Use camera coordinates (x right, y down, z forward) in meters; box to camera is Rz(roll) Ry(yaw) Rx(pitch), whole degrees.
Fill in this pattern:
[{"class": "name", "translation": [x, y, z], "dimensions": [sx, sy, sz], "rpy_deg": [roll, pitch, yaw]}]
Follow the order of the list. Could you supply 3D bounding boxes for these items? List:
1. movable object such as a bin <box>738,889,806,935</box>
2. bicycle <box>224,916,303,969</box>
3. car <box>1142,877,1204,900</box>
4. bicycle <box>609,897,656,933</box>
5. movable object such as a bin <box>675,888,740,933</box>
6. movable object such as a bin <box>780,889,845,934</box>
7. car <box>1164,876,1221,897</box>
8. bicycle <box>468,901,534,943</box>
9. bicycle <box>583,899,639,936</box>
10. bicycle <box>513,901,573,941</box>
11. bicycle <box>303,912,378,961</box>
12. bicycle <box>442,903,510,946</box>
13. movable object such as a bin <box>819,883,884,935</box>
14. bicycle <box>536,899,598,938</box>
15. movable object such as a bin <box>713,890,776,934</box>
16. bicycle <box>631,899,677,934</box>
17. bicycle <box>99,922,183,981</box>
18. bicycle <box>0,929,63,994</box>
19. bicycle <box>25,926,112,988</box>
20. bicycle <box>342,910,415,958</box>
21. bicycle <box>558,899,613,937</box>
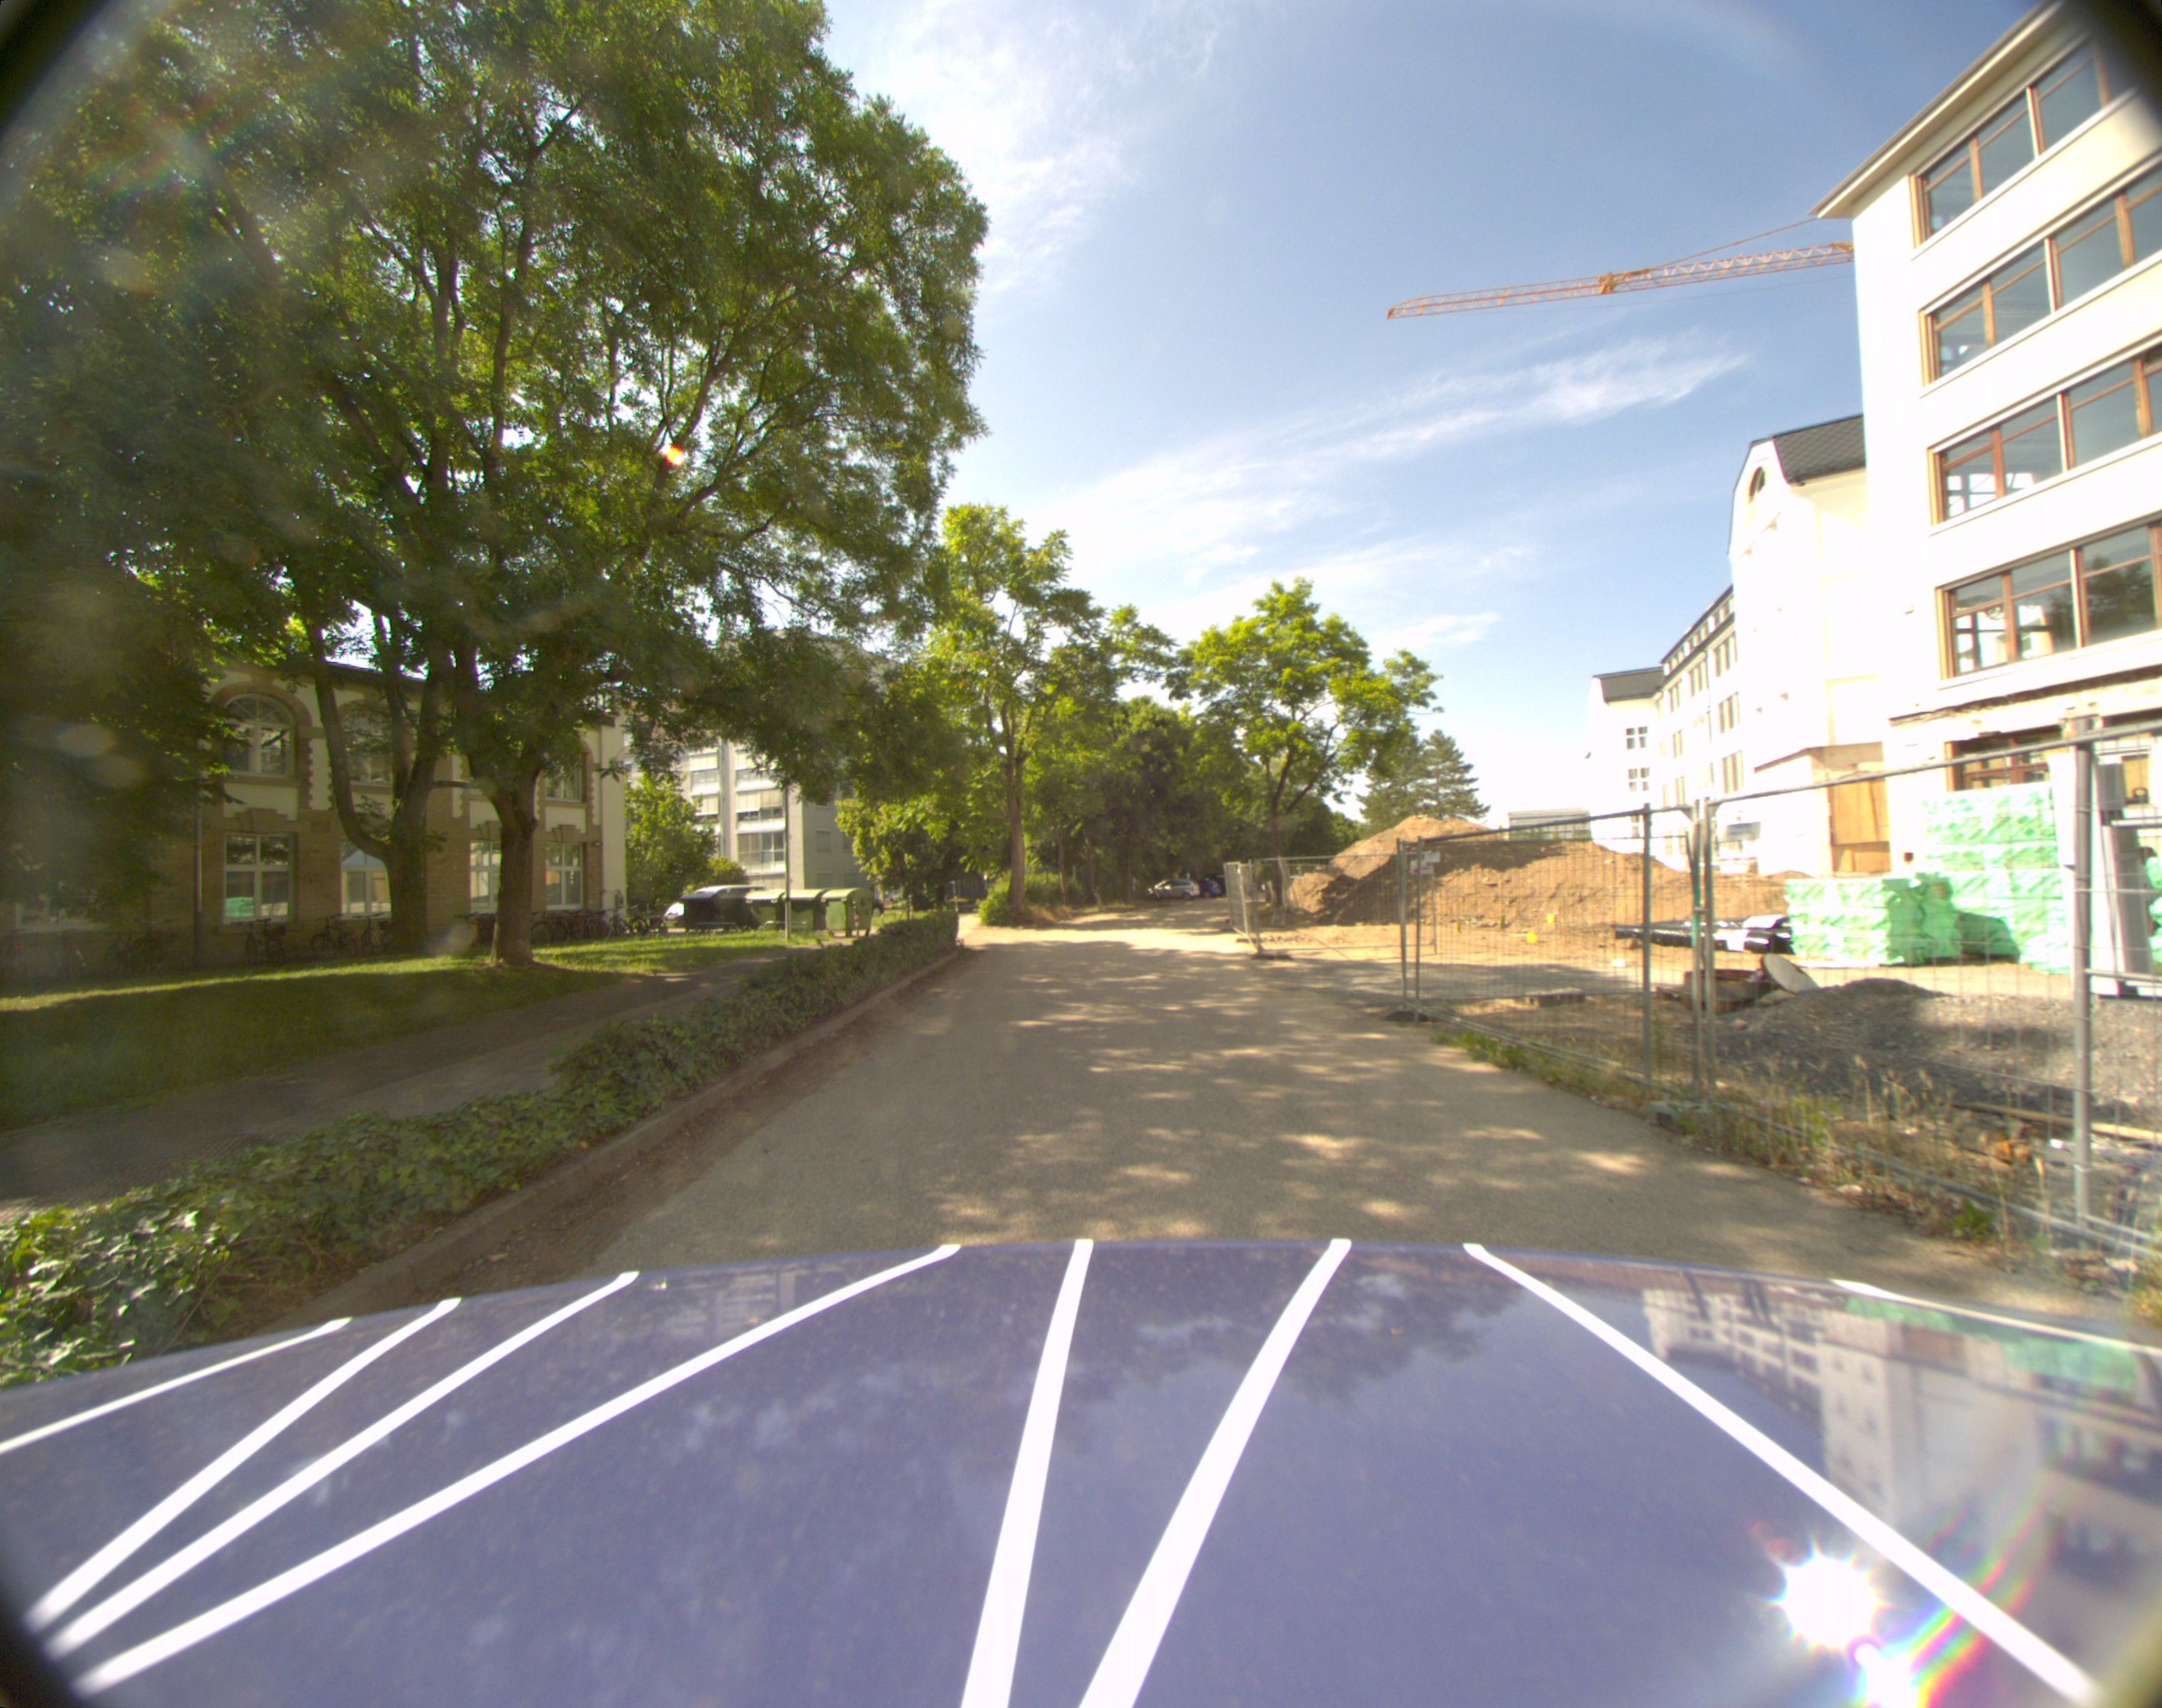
[{"class": "movable object such as a bin", "translation": [-9.638, 1.798, 23.761], "dimensions": [1.499, 1.353, 1.217], "rpy_deg": [-2, -1, 21]}, {"class": "bicycle", "translation": [-19.082, 2.057, 17.728], "dimensions": [2.097, 1.154, 0.589], "rpy_deg": [-3, -1, 24]}, {"class": "car", "translation": [6.520, 2.445, 53.826], "dimensions": [3.991, 1.499, 2.003], "rpy_deg": [-2, -2, 19]}, {"class": "bicycle", "translation": [-15.180, 2.072, 25.714], "dimensions": [1.800, 1.154, 0.508], "rpy_deg": [-3, -1, 29]}, {"class": "movable object such as a bin", "translation": [-12.367, 1.861, 25.182], "dimensions": [1.433, 1.401, 1.252], "rpy_deg": [-2, -1, 20]}, {"class": "movable object such as a bin", "translation": [-8.204, 1.753, 23.246], "dimensions": [1.352, 1.292, 1.217], "rpy_deg": [-2, -1, 21]}, {"class": "car", "translation": [8.636, 2.519, 58.789], "dimensions": [3.991, 1.433, 2.003], "rpy_deg": [-2, -2, 19]}, {"class": "bicycle", "translation": [-16.955, 1.994, 22.201], "dimensions": [2.097, 1.154, 0.589], "rpy_deg": [-3, -1, 24]}, {"class": "bicycle", "translation": [-15.588, 2.099, 25.187], "dimensions": [1.847, 1.154, 0.614], "rpy_deg": [-3, -1, 24]}, {"class": "bicycle", "translation": [-16.402, 2.039, 23.153], "dimensions": [1.917, 1.154, 0.589], "rpy_deg": [-3, -1, 24]}, {"class": "bicycle", "translation": [-18.483, 2.046, 18.955], "dimensions": [2.097, 1.154, 0.589], "rpy_deg": [-3, -1, 24]}, {"class": "bicycle", "translation": [-17.182, 1.999, 21.567], "dimensions": [2.097, 1.154, 0.589], "rpy_deg": [-3, -1, 24]}, {"class": "movable object such as a bin", "translation": [-6.854, 1.626, 22.667], "dimensions": [1.389, 1.454, 1.218], "rpy_deg": [-3, -1, 36]}, {"class": "bicycle", "translation": [-16.157, 2.025, 23.866], "dimensions": [2.097, 1.154, 0.589], "rpy_deg": [-3, -1, 24]}, {"class": "movable object such as a bin", "translation": [-10.893, 1.863, 24.635], "dimensions": [1.349, 1.341, 1.217], "rpy_deg": [-2, -1, 21]}, {"class": "bicycle", "translation": [-14.707, 2.144, 26.151], "dimensions": [1.940, 1.154, 0.558], "rpy_deg": [-3, -1, 34]}, {"class": "bicycle", "translation": [-19.916, 2.039, 16.096], "dimensions": [2.097, 1.154, 0.589], "rpy_deg": [-3, -1, 24]}, {"class": "bicycle", "translation": [-20.505, 2.048, 14.653], "dimensions": [2.097, 1.154, 0.589], "rpy_deg": [-3, -1, 24]}, {"class": "bicycle", "translation": [-20.360, 2.046, 15.272], "dimensions": [2.097, 1.154, 0.589], "rpy_deg": [-3, -1, 24]}, {"class": "bicycle", "translation": [-18.194, 2.058, 19.677], "dimensions": [2.097, 1.154, 0.589], "rpy_deg": [-3, -1, 24]}, {"class": "bicycle", "translation": [-15.900, 2.052, 24.380], "dimensions": [1.909, 1.154, 0.495], "rpy_deg": [-3, -1, 24]}]
